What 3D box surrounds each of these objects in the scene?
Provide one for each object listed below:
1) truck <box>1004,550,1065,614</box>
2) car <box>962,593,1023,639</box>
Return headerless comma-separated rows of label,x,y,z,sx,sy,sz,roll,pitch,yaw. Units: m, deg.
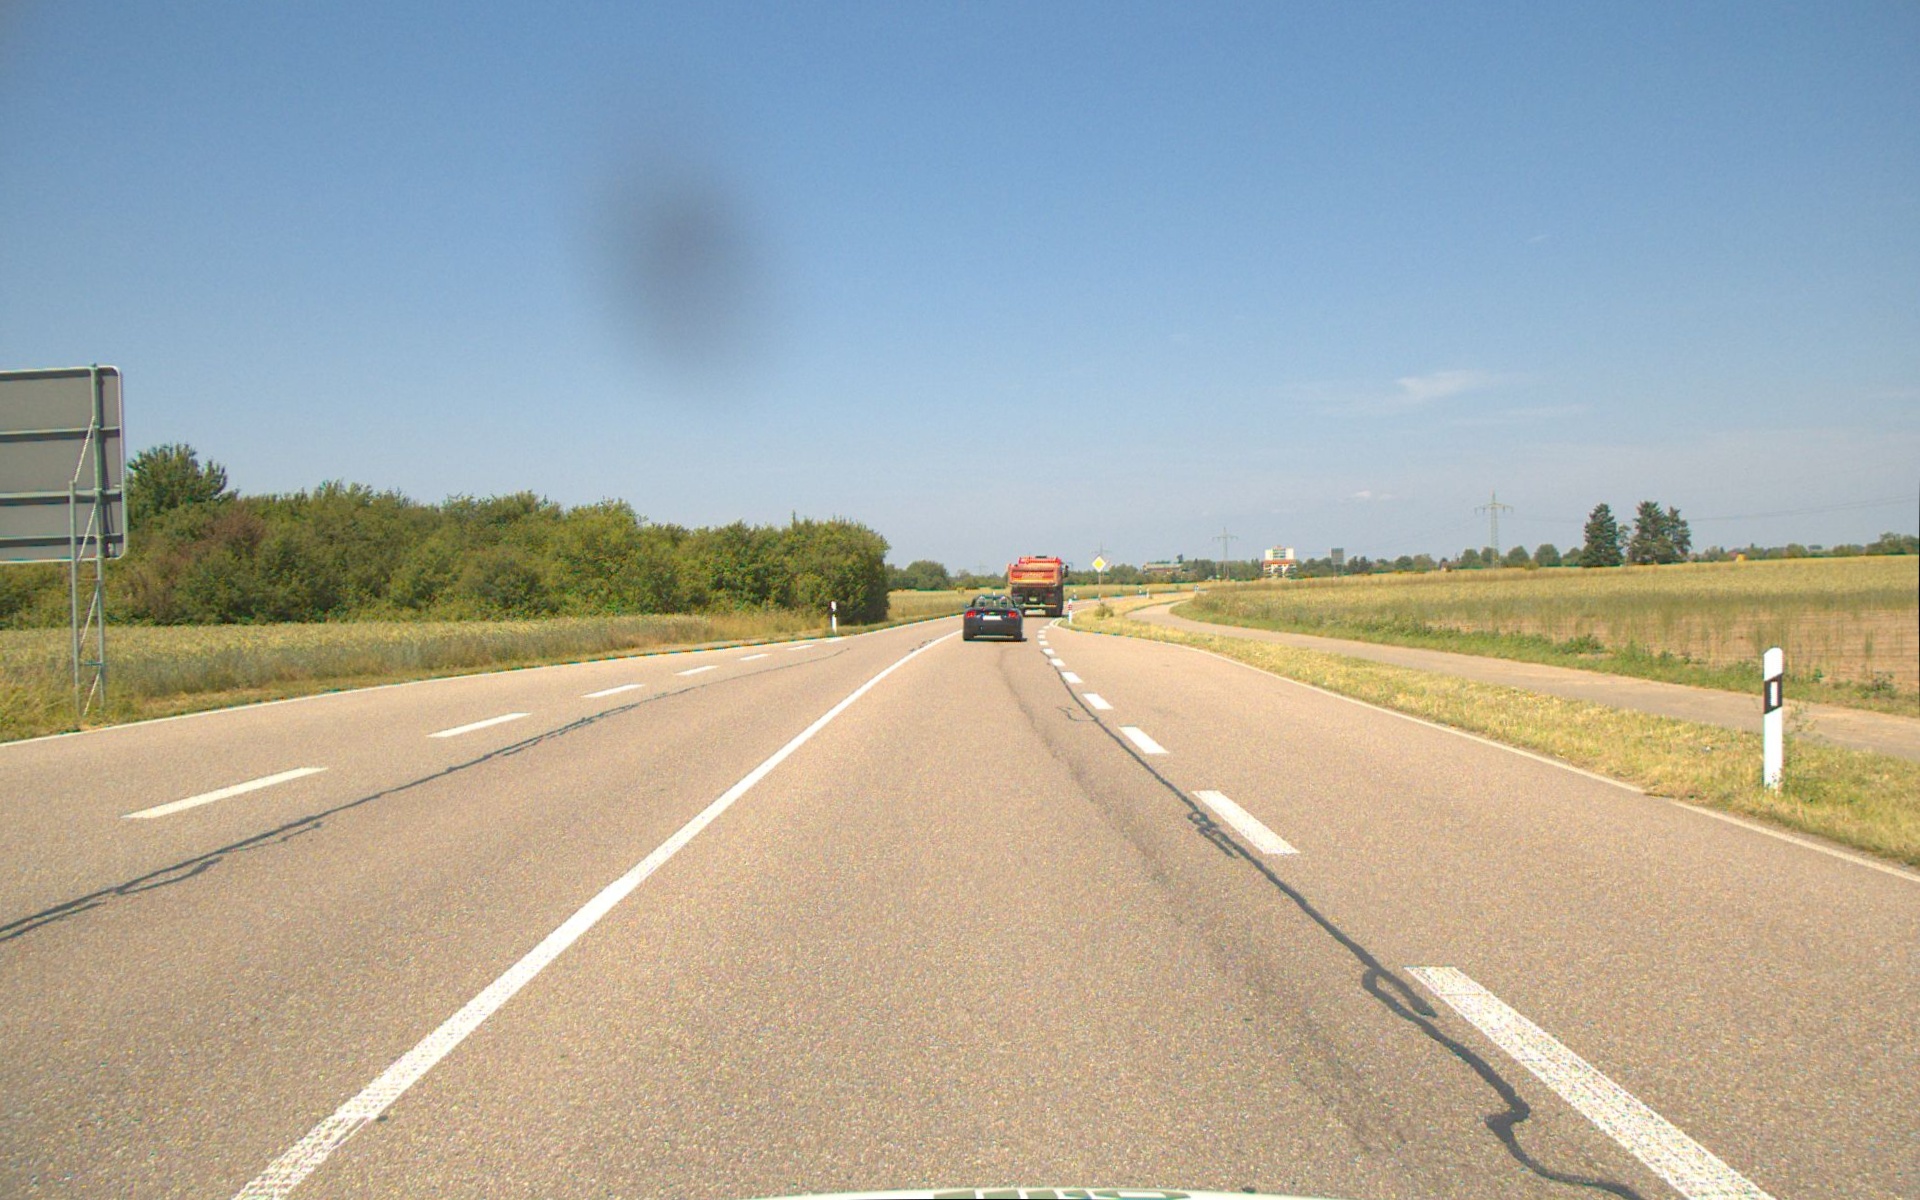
truck,3.931,-0.896,86.084,2.876,3.143,7.200,-1,0,5
car,0.933,0.447,49.164,1.708,1.302,4.000,0,0,0
